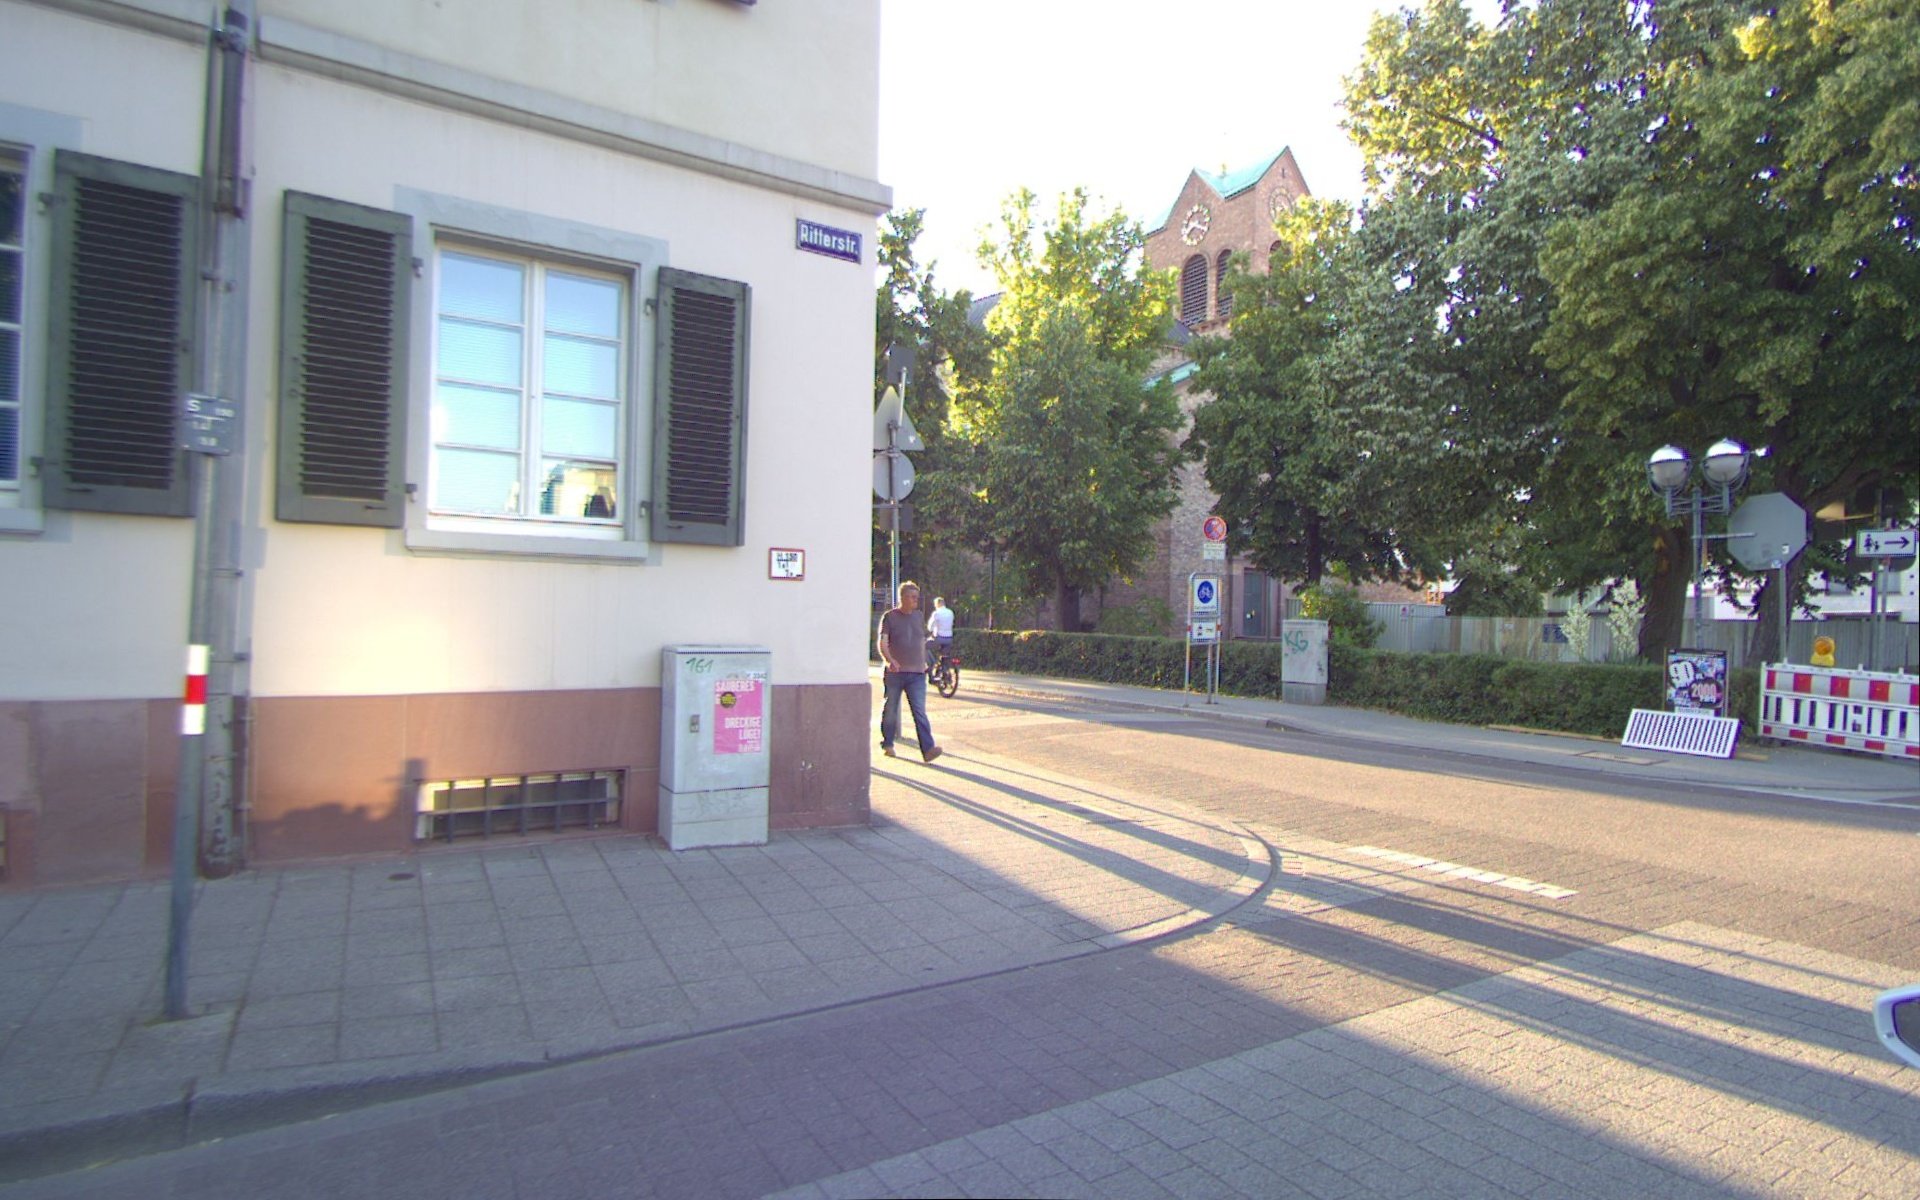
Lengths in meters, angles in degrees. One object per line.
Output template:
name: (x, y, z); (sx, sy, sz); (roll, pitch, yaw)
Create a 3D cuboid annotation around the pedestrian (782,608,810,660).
pedestrian: (-5.968, 1.243, 36.535); (0.786, 1.849, 0.651); (2, -2, -29)

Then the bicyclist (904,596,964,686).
bicyclist: (-0.505, 0.764, 18.979); (0.591, 1.654, 1.052); (2, -2, -39)

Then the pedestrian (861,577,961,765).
pedestrian: (-0.509, 0.711, 10.311); (0.787, 1.838, 0.651); (2, -2, -31)

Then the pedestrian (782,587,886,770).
pedestrian: (-1.244, 0.750, 9.891); (0.787, 1.711, 0.651); (2, -2, -31)

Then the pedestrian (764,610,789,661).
pedestrian: (-6.636, 1.284, 36.276); (0.781, 1.837, 0.656); (1, -1, -5)

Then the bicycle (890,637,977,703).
bicycle: (-0.518, 1.292, 18.944); (0.591, 1.136, 1.912); (2, -2, -39)
